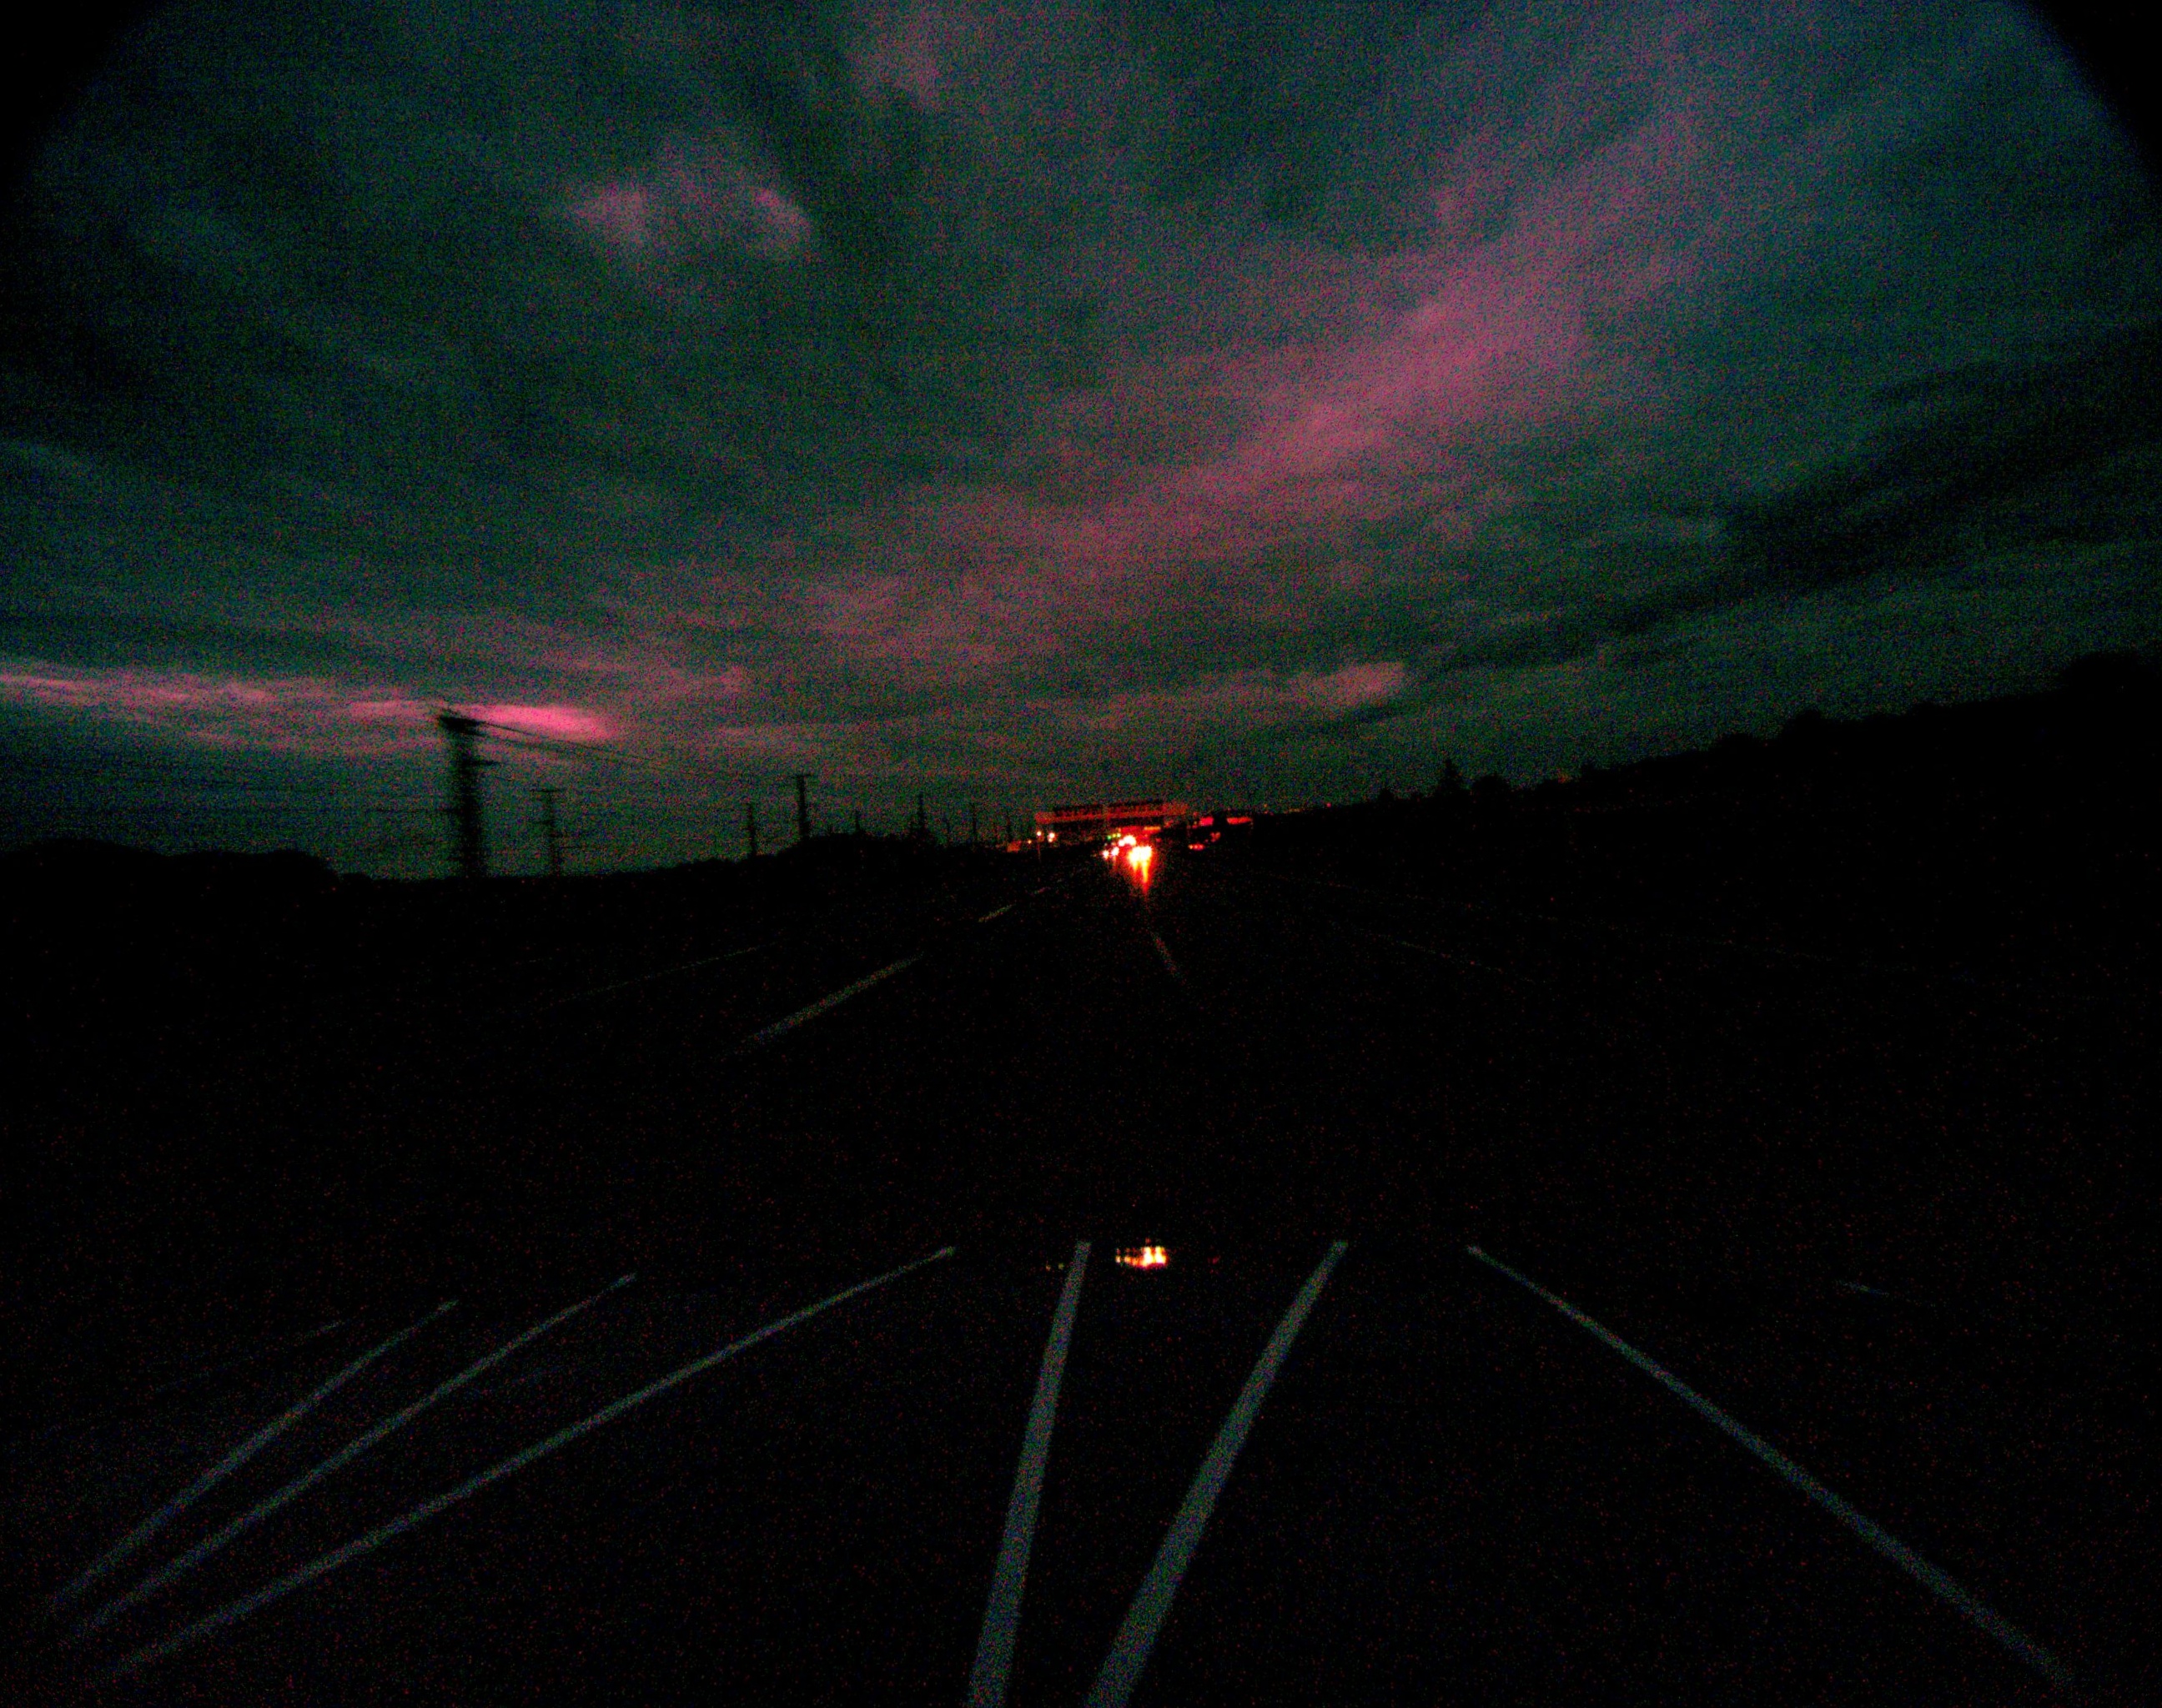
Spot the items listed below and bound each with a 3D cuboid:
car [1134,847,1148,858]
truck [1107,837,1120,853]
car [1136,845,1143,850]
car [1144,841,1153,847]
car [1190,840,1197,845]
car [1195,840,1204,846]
[{"bbox_3d":[8.221,-0.216,103.942,1.998,1.342,4.176,0,1,5],"label":"car"},{"bbox_3d":[8.654,-2.347,201.676,3.059,4.047,10.523,-2,0,4],"label":"truck"},{"bbox_3d":[17.535,-1.890,226.845,1.998,1.342,4.175,-4,1,4],"label":"car"},{"bbox_3d":[17.973,-2.602,203.335,1.998,1.342,4.175,-5,1,2],"label":"car"},{"bbox_3d":[33.492,-3.430,225.710,1.693,1.393,4.429,-6,2,4],"label":"car"},{"bbox_3d":[30.238,-2.794,194.208,1.693,1.393,4.429,-6,2,4],"label":"car"}]
